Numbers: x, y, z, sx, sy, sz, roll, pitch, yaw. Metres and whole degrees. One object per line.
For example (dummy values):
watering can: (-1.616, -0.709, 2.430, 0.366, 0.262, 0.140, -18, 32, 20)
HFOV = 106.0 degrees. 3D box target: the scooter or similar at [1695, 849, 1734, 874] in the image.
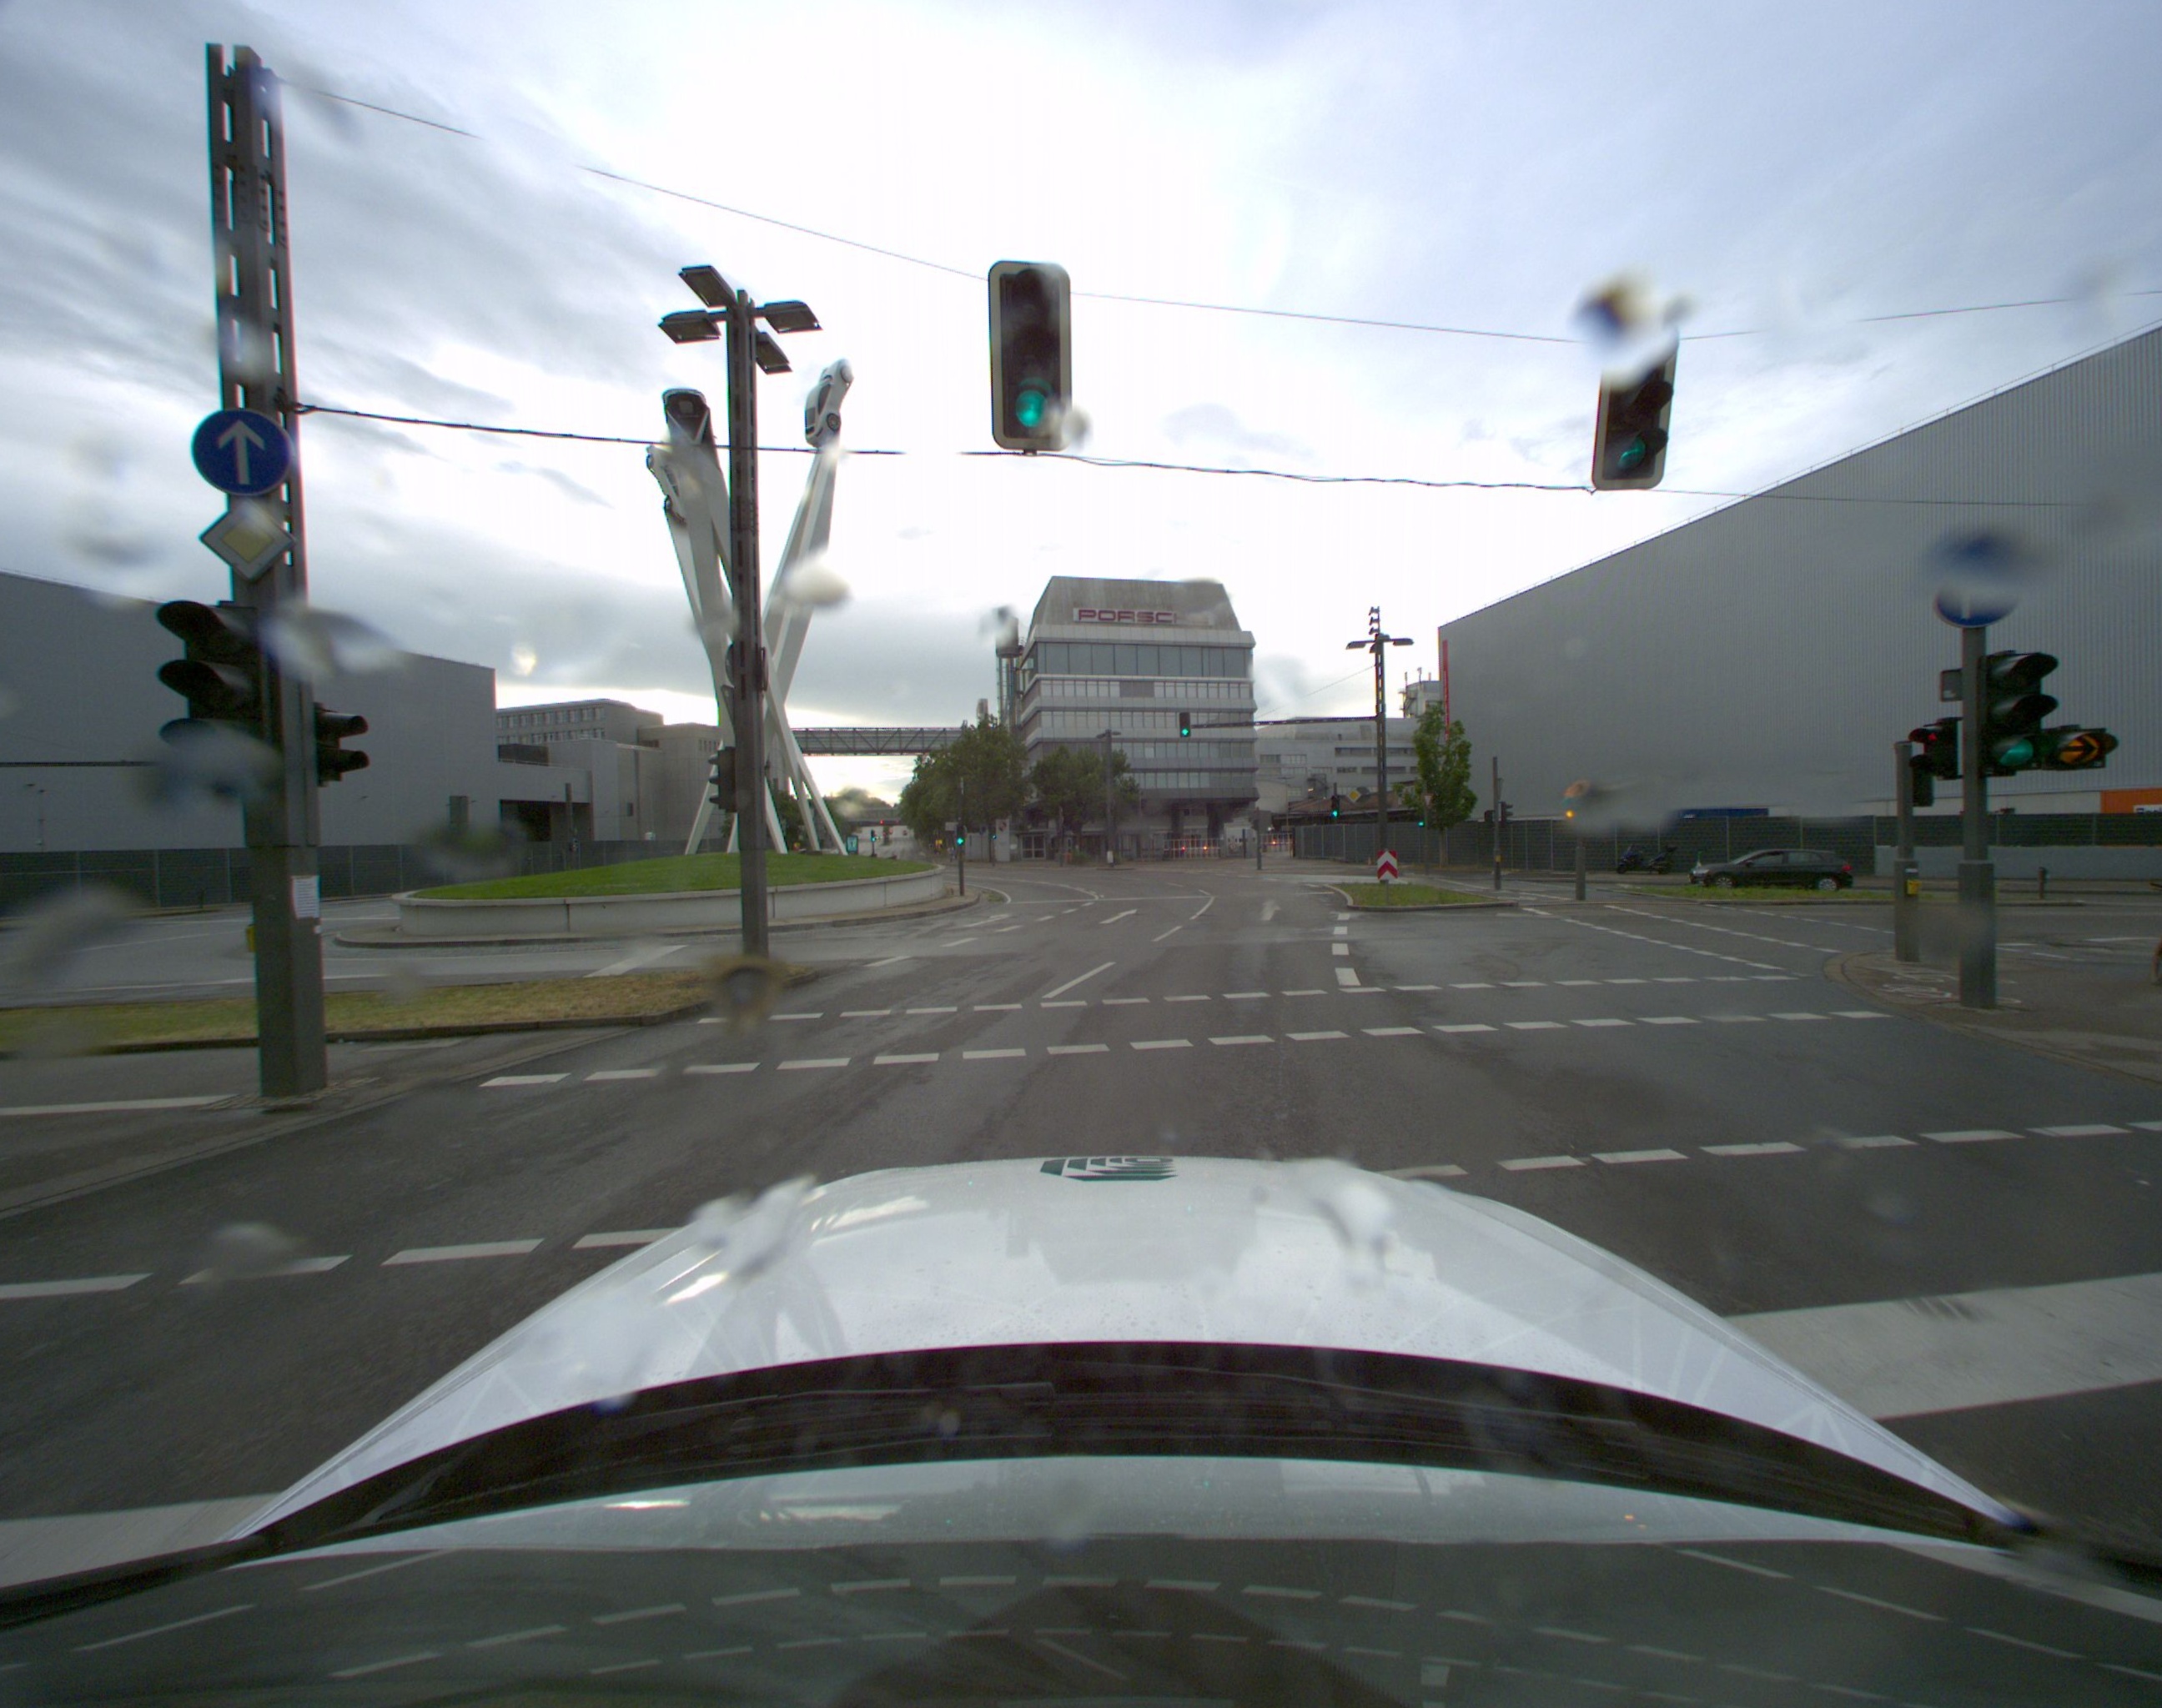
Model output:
scooter or similar: (26.911, 0.309, 34.608, 0.387, 1.029, 1.258, -1, 1, -30)

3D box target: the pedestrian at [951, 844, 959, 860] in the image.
pedestrian: (-12.566, -0.217, 81.088, 0.708, 1.592, 0.838, -2, 1, -8)

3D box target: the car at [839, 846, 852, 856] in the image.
car: (-39.622, -0.498, 137.133, 1.786, 1.440, 4.374, -2, 2, -14)

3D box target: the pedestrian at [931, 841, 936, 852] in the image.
pedestrian: (-23.250, -1.135, 128.401, 0.712, 1.740, 0.757, 0, -2, -13)

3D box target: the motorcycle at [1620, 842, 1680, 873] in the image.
motorcycle: (24.879, 0.143, 35.620, 2.075, 1.310, 0.659, 0, 1, 26)

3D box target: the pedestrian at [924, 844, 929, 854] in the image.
pedestrian: (-31.154, -1.010, 164.616, 0.761, 2.013, 0.693, -1, 0, 4)

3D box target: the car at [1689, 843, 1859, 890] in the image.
car: (22.273, 0.391, 26.391, 3.949, 1.425, 1.731, 0, 0, 30)

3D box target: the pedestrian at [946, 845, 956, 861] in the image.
pedestrian: (-12.650, -0.065, 79.336, 0.830, 1.520, 0.840, -2, 1, -5)

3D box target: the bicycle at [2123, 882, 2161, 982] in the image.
bicycle: (12.303, 0.879, 8.987, 0.416, 1.130, 2.086, -1, -2, 36)
